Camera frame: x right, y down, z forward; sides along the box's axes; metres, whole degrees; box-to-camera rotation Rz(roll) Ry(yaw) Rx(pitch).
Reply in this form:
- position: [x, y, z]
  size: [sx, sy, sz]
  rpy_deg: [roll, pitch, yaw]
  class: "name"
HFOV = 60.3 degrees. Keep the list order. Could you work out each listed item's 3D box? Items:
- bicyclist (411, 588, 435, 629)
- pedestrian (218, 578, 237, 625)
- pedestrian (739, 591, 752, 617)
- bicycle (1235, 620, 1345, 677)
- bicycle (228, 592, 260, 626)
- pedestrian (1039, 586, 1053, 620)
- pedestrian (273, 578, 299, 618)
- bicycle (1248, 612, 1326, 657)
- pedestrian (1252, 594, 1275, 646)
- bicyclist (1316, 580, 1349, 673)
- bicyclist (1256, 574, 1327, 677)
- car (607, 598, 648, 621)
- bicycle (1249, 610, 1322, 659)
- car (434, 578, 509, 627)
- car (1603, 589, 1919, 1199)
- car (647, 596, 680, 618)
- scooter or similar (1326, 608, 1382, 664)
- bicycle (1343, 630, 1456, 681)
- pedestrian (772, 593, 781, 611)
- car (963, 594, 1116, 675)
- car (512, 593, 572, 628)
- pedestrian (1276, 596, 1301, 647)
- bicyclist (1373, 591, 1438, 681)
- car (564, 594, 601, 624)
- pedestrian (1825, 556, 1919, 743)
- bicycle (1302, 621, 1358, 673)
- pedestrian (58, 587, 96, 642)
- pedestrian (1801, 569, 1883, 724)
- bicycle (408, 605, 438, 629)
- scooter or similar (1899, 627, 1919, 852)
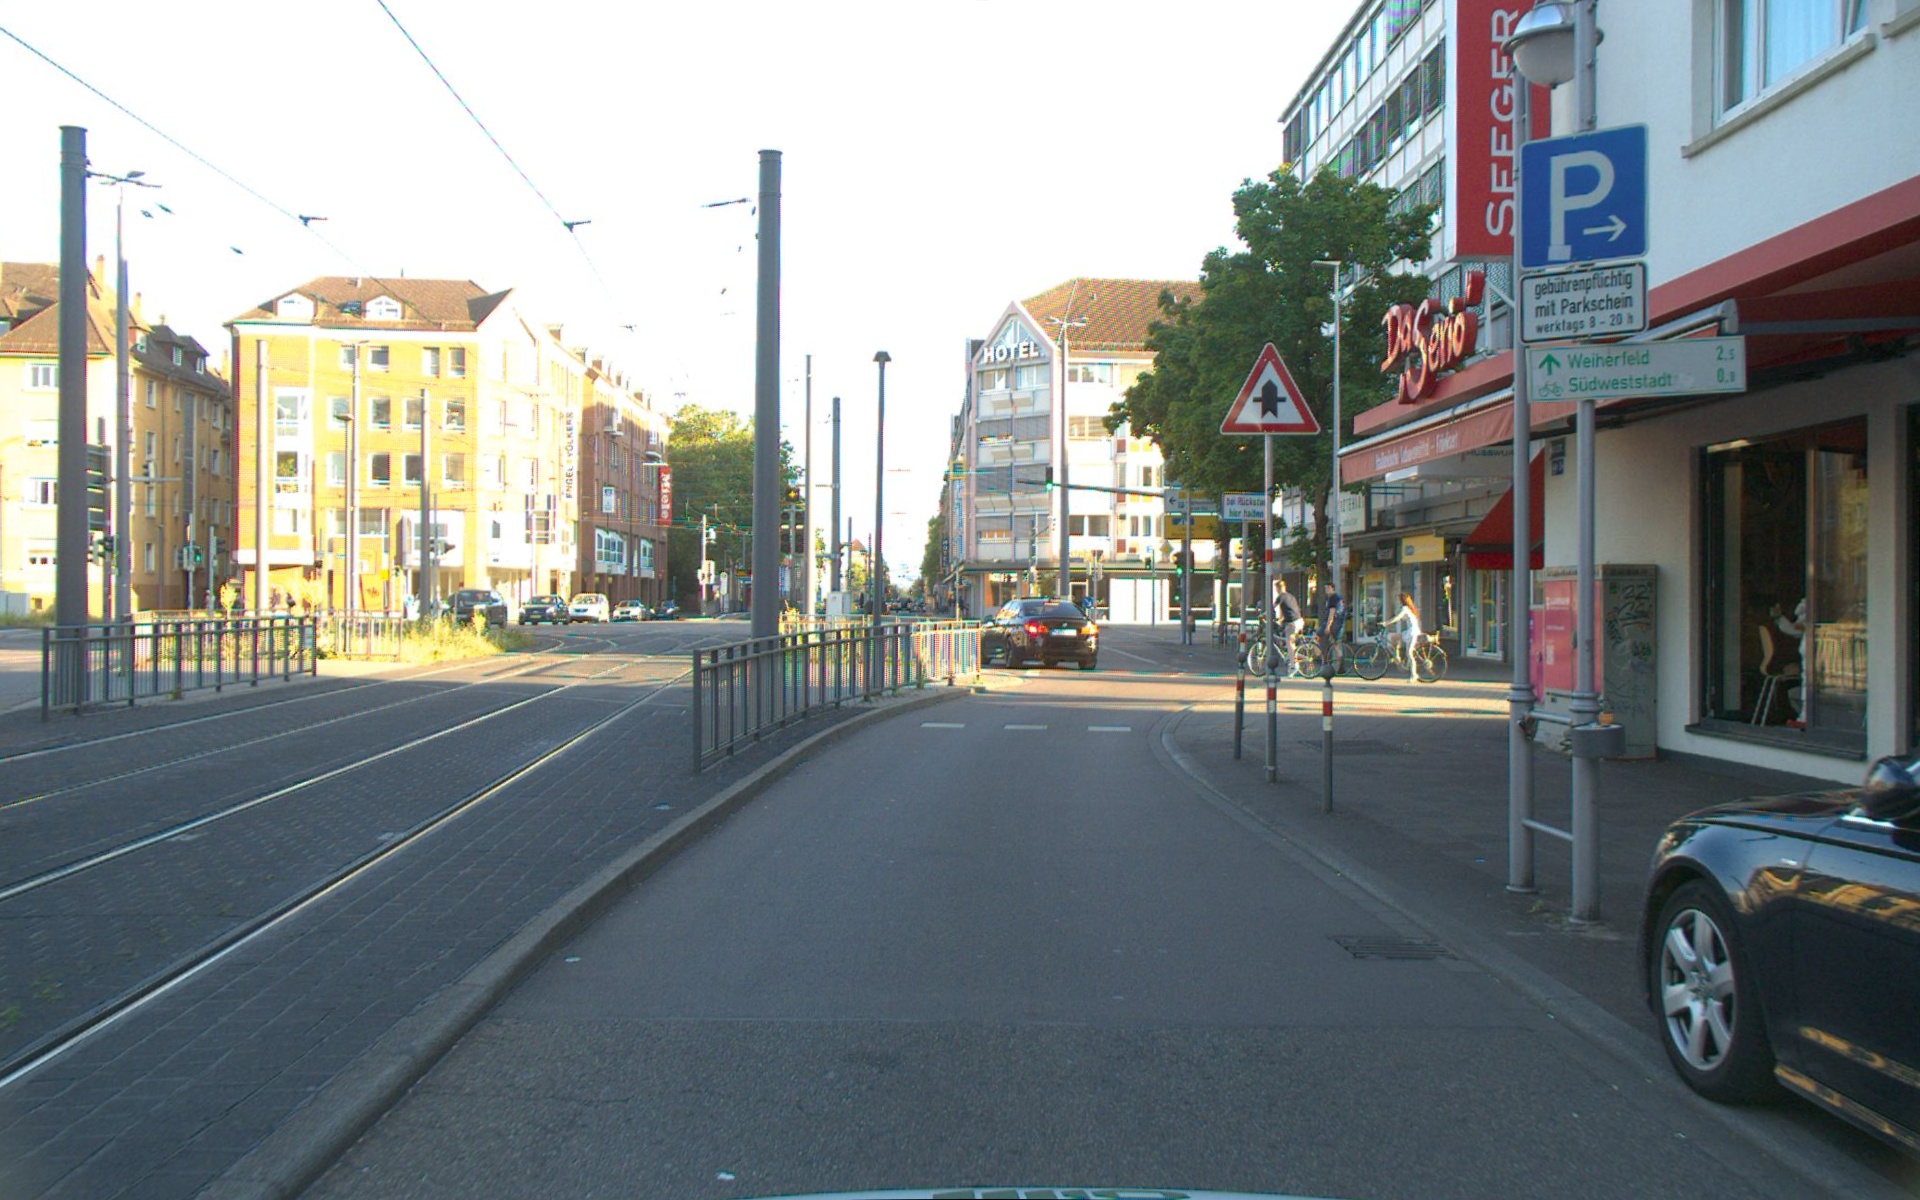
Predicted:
- position: [-22.915, 0.358, 70.644]
  size: [0.648, 1.718, 0.980]
  rpy_deg: [0, 0, 5]
  class: "bicyclist"
- position: [-30.282, 0.049, 68.366]
  size: [0.492, 1.900, 0.562]
  rpy_deg: [2, 0, -7]
  class: "pedestrian"
- position: [-17.841, 0.334, 137.413]
  size: [0.968, 2.049, 0.725]
  rpy_deg: [2, 0, -3]
  class: "pedestrian"
- position: [6.403, 0.930, 32.187]
  size: [0.832, 1.038, 2.049]
  rpy_deg: [0, 0, -38]
  class: "bicycle"
- position: [-29.751, 0.361, 68.736]
  size: [0.606, 1.348, 2.013]
  rpy_deg: [2, 0, -6]
  class: "bicycle"
- position: [4.809, 0.177, 92.291]
  size: [0.671, 1.887, 0.670]
  rpy_deg: [0, 0, -6]
  class: "pedestrian"
- position: [-32.408, -0.110, 79.523]
  size: [0.923, 1.900, 0.836]
  rpy_deg: [2, 0, -11]
  class: "pedestrian"
- position: [8.489, 0.881, 42.980]
  size: [1.954, 1.130, 0.669]
  rpy_deg: [0, 0, 11]
  class: "bicycle"
- position: [10.061, 0.657, 54.852]
  size: [0.670, 1.696, 0.671]
  rpy_deg: [0, 0, 1]
  class: "pedestrian"
- position: [7.510, 0.525, 33.341]
  size: [0.456, 1.862, 0.558]
  rpy_deg: [0, 0, -10]
  class: "bicyclist"
- position: [6.435, 0.480, 32.136]
  size: [0.832, 1.951, 1.099]
  rpy_deg: [0, 0, -38]
  class: "bicyclist"
- position: [-22.124, 0.605, 110.214]
  size: [1.634, 1.473, 4.204]
  rpy_deg: [0, 0, 4]
  class: "car"
- position: [8.638, 0.911, 43.951]
  size: [1.863, 1.257, 0.669]
  rpy_deg: [0, 0, 9]
  class: "bicycle"
- position: [-19.891, 0.093, 67.576]
  size: [1.954, 1.934, 4.807]
  rpy_deg: [0, 0, -4]
  class: "car"
- position: [3.173, 0.745, 3.423]
  size: [1.700, 1.538, 4.684]
  rpy_deg: [-1, 0, -2]
  class: "car"
- position: [-22.397, 0.487, 124.918]
  size: [1.954, 1.612, 4.475]
  rpy_deg: [0, 0, -4]
  class: "car"
- position: [9.180, 0.828, 38.573]
  size: [1.254, 1.256, 0.336]
  rpy_deg: [0, 0, 41]
  class: "scooter or similar"
- position: [8.286, 1.037, 31.156]
  size: [1.965, 0.896, 0.840]
  rpy_deg: [0, 0, 22]
  class: "bicycle"
- position: [-17.936, 0.194, 161.774]
  size: [0.708, 1.710, 0.991]
  rpy_deg: [0, 0, 0]
  class: "pedestrian"
- position: [1.630, 0.680, 35.324]
  size: [1.963, 1.612, 3.978]
  rpy_deg: [0, 0, -19]
  class: "car"
- position: [-19.832, 0.458, 78.626]
  size: [1.954, 1.612, 4.583]
  rpy_deg: [0, 0, -4]
  class: "car"
- position: [10.964, 0.712, 55.202]
  size: [0.708, 1.696, 0.671]
  rpy_deg: [0, 0, 1]
  class: "pedestrian"
- position: [8.391, 0.656, 31.115]
  size: [1.088, 1.651, 0.840]
  rpy_deg: [0, 0, 22]
  class: "bicyclist"
- position: [-20.848, 0.497, 91.357]
  size: [1.959, 1.612, 4.099]
  rpy_deg: [0, 0, -13]
  class: "car"
- position: [6.946, 0.366, 12.511]
  size: [0.512, 1.383, 0.503]
  rpy_deg: [0, 0, -13]
  class: "pedestrian"
- position: [7.482, 0.937, 33.480]
  size: [0.456, 0.987, 1.796]
  rpy_deg: [0, 0, -10]
  class: "bicycle"
- position: [-32.491, 0.527, 60.871]
  size: [1.081, 1.978, 1.019]
  rpy_deg: [0, 0, -21]
  class: "pedestrian"
- position: [7.203, 0.369, 13.505]
  size: [0.495, 1.238, 0.520]
  rpy_deg: [0, 0, 41]
  class: "pedestrian"
- position: [-22.927, 0.710, 70.603]
  size: [0.652, 1.026, 1.624]
  rpy_deg: [0, 0, 5]
  class: "bicycle"
- position: [5.706, 0.768, 8.759]
  size: [0.353, 1.223, 1.231]
  rpy_deg: [0, 0, -39]
  class: "scooter or similar"
